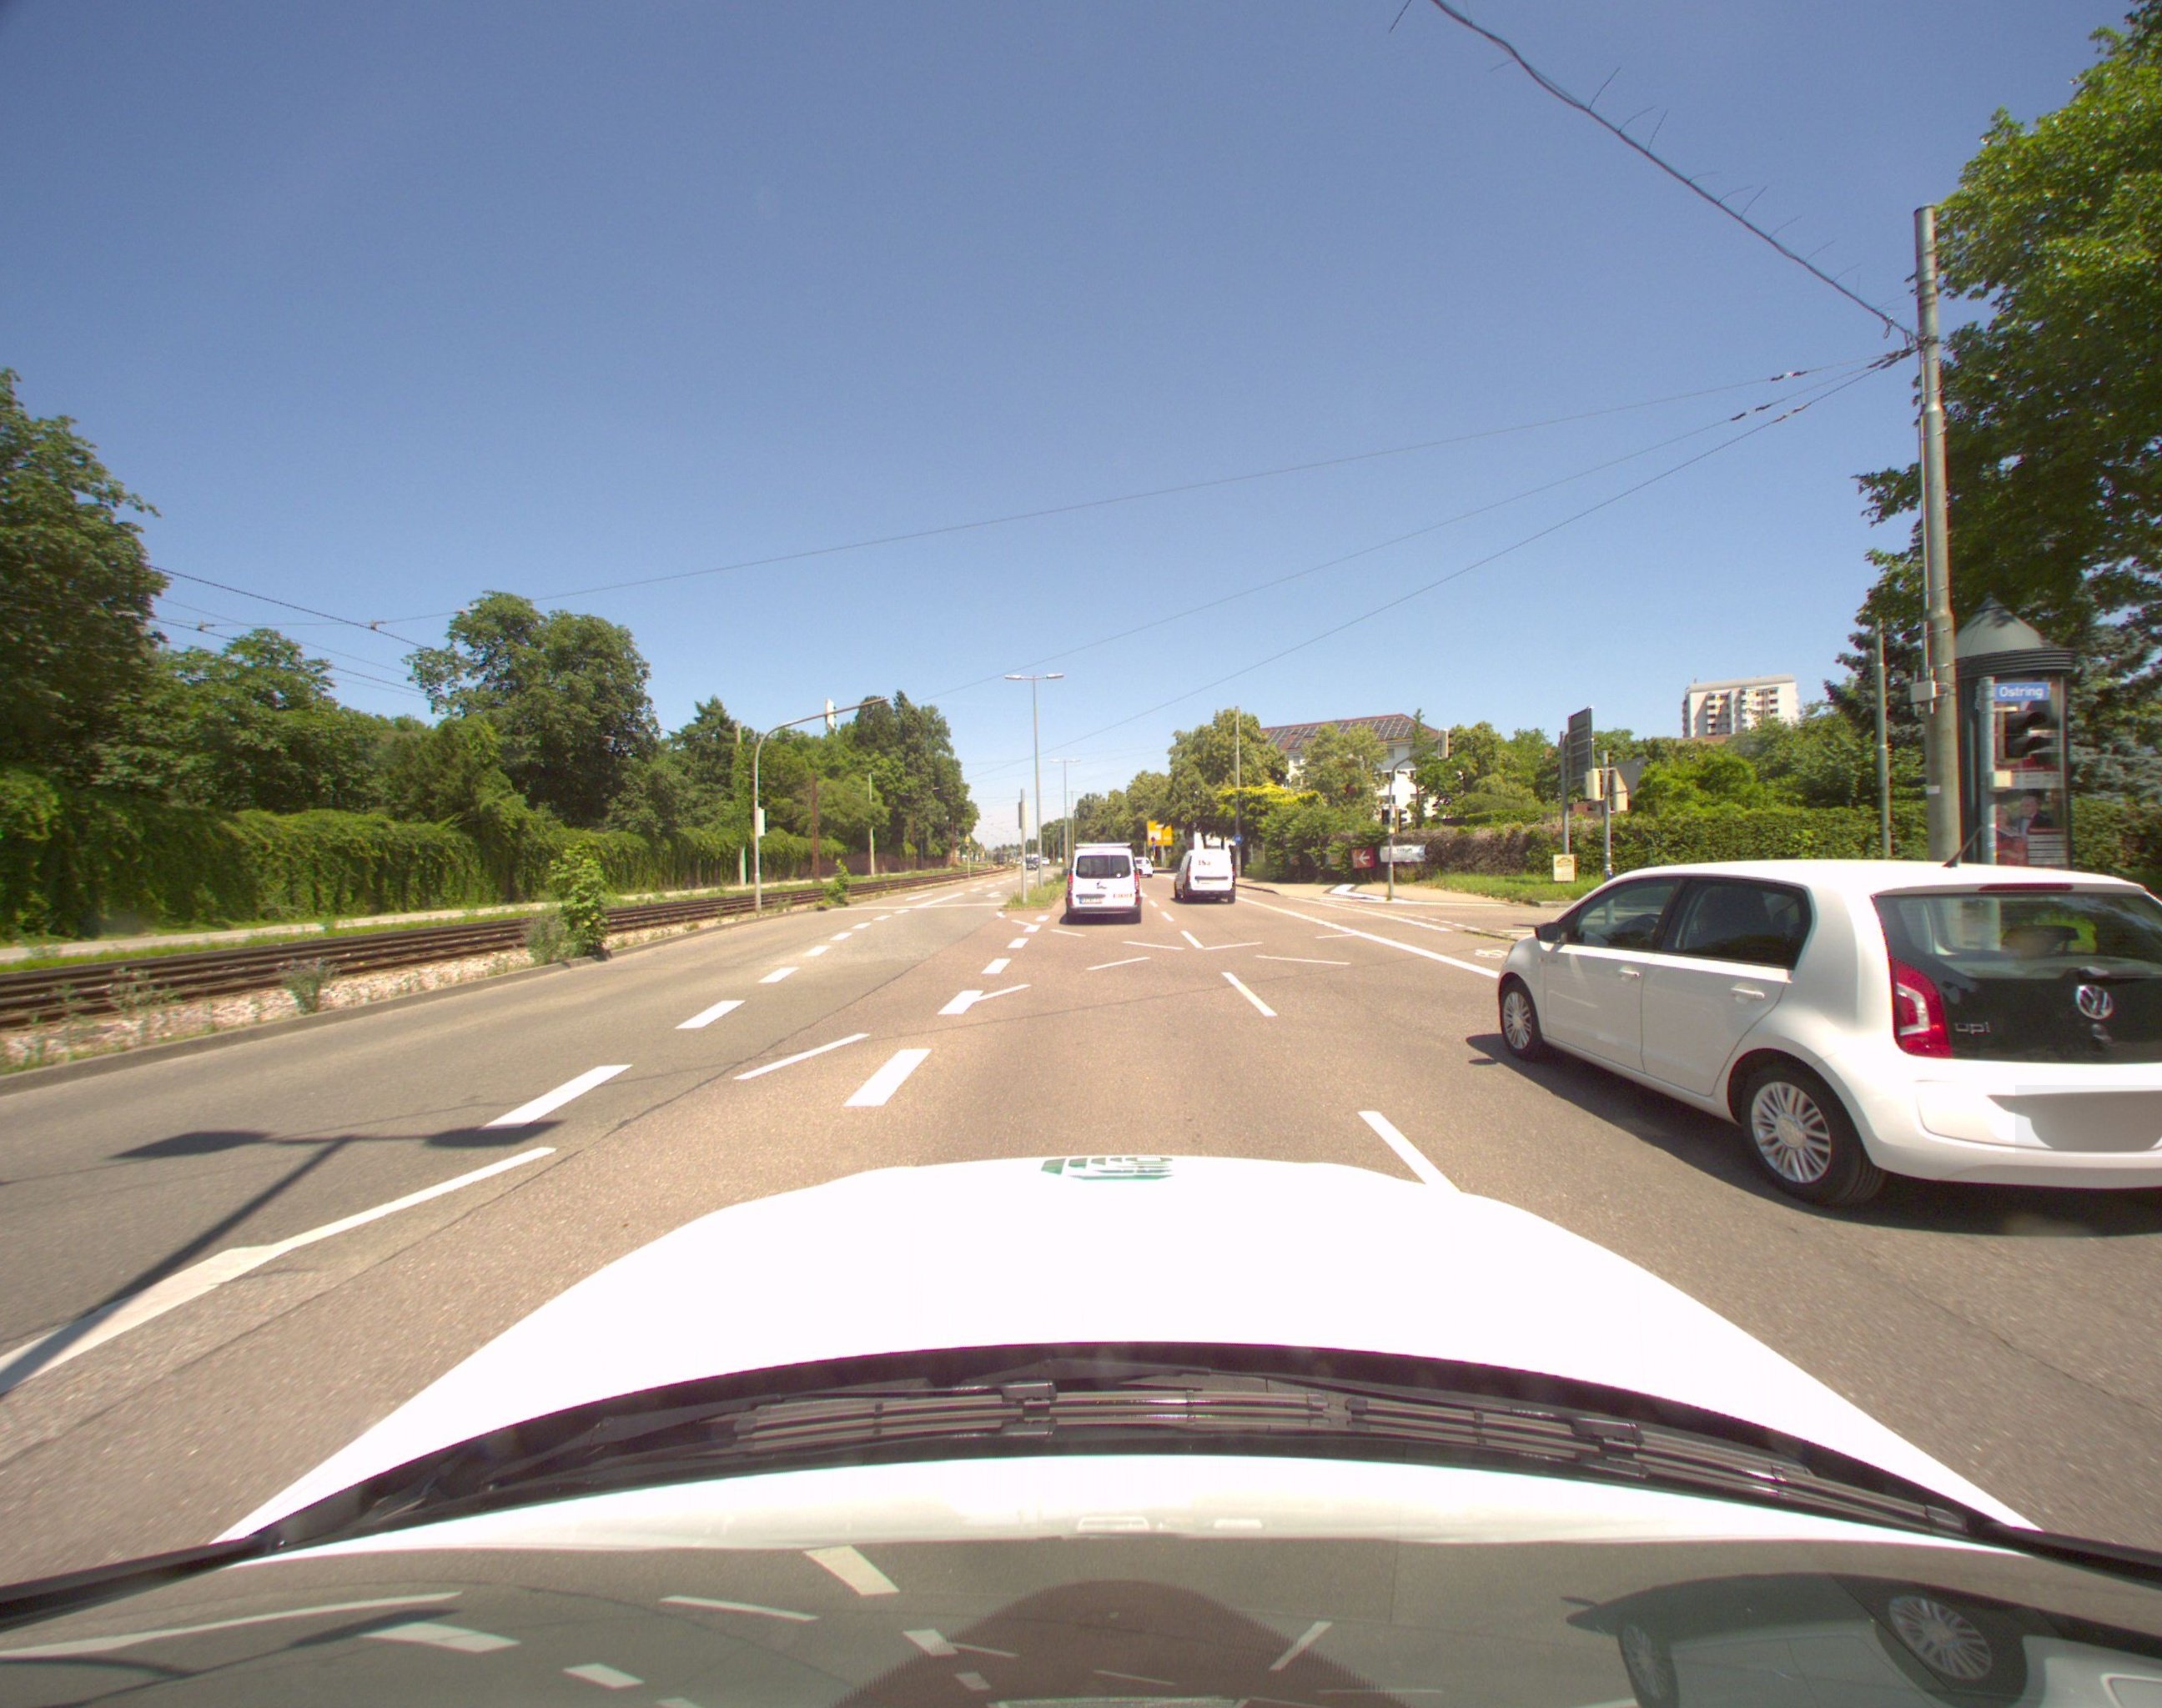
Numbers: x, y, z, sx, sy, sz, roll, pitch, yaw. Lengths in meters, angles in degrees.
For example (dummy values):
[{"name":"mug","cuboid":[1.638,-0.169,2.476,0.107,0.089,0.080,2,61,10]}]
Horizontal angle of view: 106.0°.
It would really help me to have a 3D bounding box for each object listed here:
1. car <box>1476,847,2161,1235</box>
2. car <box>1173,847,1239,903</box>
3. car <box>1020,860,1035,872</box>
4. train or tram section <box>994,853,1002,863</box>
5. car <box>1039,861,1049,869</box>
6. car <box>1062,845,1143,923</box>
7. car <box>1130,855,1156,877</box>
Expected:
[{"name":"car","cuboid":[3.886,0.695,4.776,1.603,1.447,3.438,0,0,2]},{"name":"car","cuboid":[4.239,0.679,28.150,1.721,1.788,4.065,0,0,1]},{"name":"car","cuboid":[-7.214,1.656,110.848,1.692,1.512,4.065,-2,0,0]},{"name":"train or tram section","cuboid":[-26.863,1.472,263.599,1.992,3.087,16.123,0,-1,-7]},{"name":"car","cuboid":[-8.298,2.492,183.704,1.987,1.816,4.000,-1,0,1]},{"name":"car","cuboid":[0.560,0.679,20.447,1.814,1.739,4.398,0,0,2]},{"name":"car","cuboid":[4.683,0.907,62.245,1.828,1.568,4.002,0,0,2]}]
